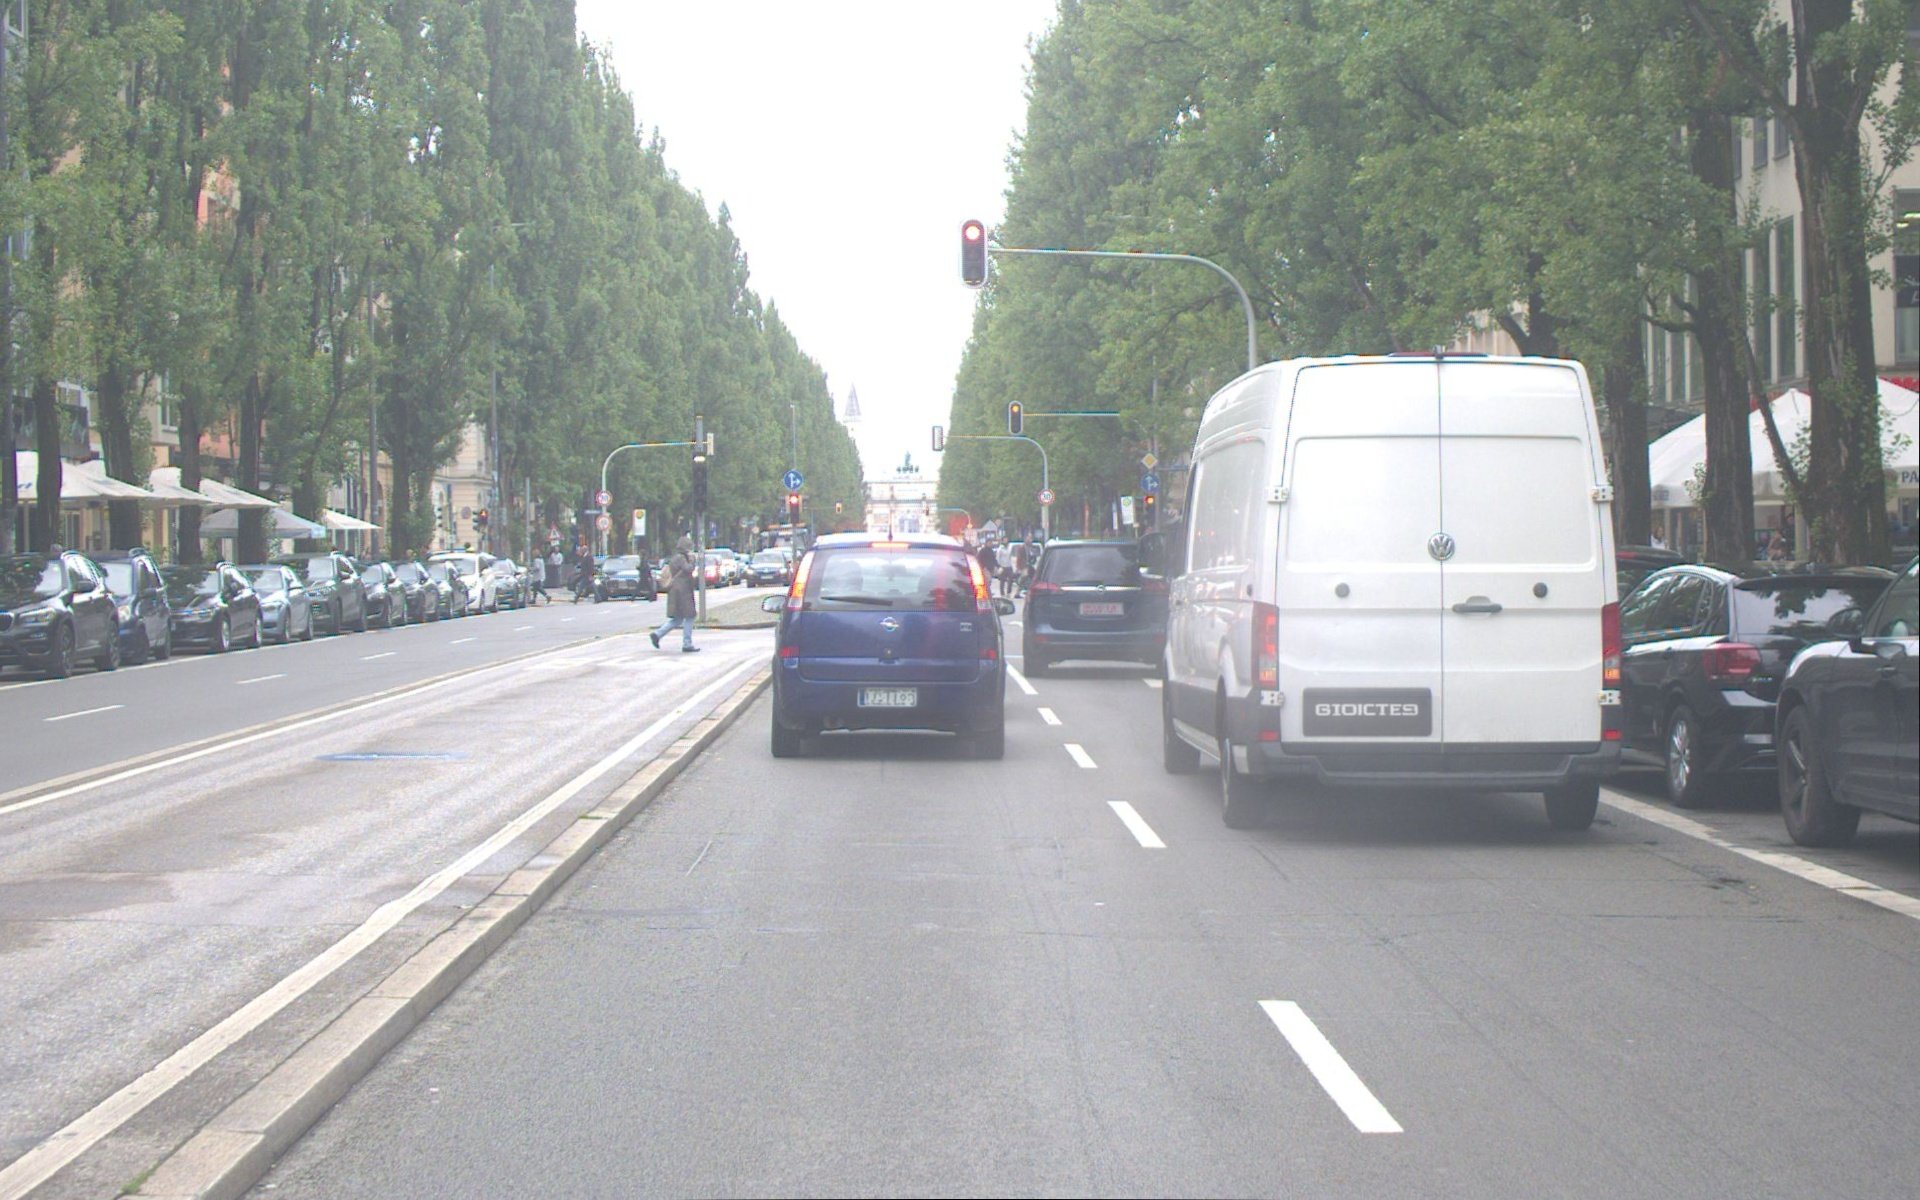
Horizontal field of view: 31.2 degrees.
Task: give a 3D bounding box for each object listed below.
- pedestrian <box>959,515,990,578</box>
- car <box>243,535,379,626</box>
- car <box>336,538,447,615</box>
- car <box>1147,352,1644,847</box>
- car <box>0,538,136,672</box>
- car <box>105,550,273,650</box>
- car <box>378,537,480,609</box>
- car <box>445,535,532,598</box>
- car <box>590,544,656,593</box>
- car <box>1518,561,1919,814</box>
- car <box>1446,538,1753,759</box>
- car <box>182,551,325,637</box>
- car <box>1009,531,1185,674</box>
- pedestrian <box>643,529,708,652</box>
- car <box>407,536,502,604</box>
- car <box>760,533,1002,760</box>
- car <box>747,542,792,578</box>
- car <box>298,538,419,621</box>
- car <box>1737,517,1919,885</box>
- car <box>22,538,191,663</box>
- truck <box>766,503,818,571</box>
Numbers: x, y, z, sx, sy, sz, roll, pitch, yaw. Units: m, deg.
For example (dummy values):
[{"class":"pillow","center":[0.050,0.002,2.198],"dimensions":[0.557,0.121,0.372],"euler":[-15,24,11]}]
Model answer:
[{"class":"pedestrian","center":[0.412,-1.548,99.470],"dimensions":[0.719,1.820,0.888],"euler":[1,0,-11]},{"class":"car","center":[-12.745,-0.408,67.753],"dimensions":[1.866,1.660,4.401],"euler":[-2,1,-1]},{"class":"car","center":[-13.018,-0.562,78.920],"dimensions":[1.866,1.660,4.120],"euler":[-2,1,-1]},{"class":"car","center":[2.377,-0.067,20.695],"dimensions":[2.063,2.484,6.731],"euler":[0,1,-1]},{"class":"car","center":[-12.444,0.046,45.702],"dimensions":[1.866,1.658,4.611],"euler":[-2,1,-1]},{"class":"car","center":[-12.630,-0.033,56.578],"dimensions":[1.798,1.483,4.351],"euler":[-2,1,-1]},{"class":"car","center":[-13.004,-0.691,84.446],"dimensions":[1.866,1.660,4.120],"euler":[-2,1,-1]},{"class":"car","center":[-13.274,-0.962,96.980],"dimensions":[1.866,1.660,4.120],"euler":[-2,1,-1]},{"class":"car","center":[-10.886,-1.038,111.347],"dimensions":[1.697,1.457,4.713],"euler":[-2,1,-1]},{"class":"car","center":[4.867,0.471,21.509],"dimensions":[1.709,1.388,4.344],"euler":[0,1,-5]},{"class":"car","center":[4.635,0.315,25.232],"dimensions":[1.592,1.513,2.730],"euler":[1,1,-3]},{"class":"car","center":[-12.685,-0.130,61.974],"dimensions":[1.733,1.421,4.144],"euler":[-2,1,-1]},{"class":"car","center":[1.584,-0.009,41.045],"dimensions":[1.896,1.616,4.000],"euler":[0,1,-1]},{"class":"pedestrian","center":[-3.932,-0.139,47.570],"dimensions":[0.859,1.678,0.627],"euler":[-1,1,-4]},{"class":"car","center":[-13.158,-0.792,89.706],"dimensions":[1.866,1.660,4.120],"euler":[-2,1,-1]},{"class":"car","center":[-0.573,0.284,25.850],"dimensions":[1.671,1.563,4.000],"euler":[0,1,-1]},{"class":"car","center":[-7.986,-1.693,144.011],"dimensions":[1.735,1.460,3.365],"euler":[-1,1,-1]},{"class":"car","center":[-12.903,-0.459,73.926],"dimensions":[1.866,1.660,4.120],"euler":[-2,1,-1]},{"class":"car","center":[5.127,0.443,16.061],"dimensions":[1.803,1.632,4.448],"euler":[1,1,-2]},{"class":"car","center":[-12.645,-0.026,51.123],"dimensions":[1.709,1.715,3.923],"euler":[-2,1,-4]},{"class":"truck","center":[-8.451,-3.175,173.653],"dimensions":[2.383,3.335,7.111],"euler":[-1,1,-1]}]
